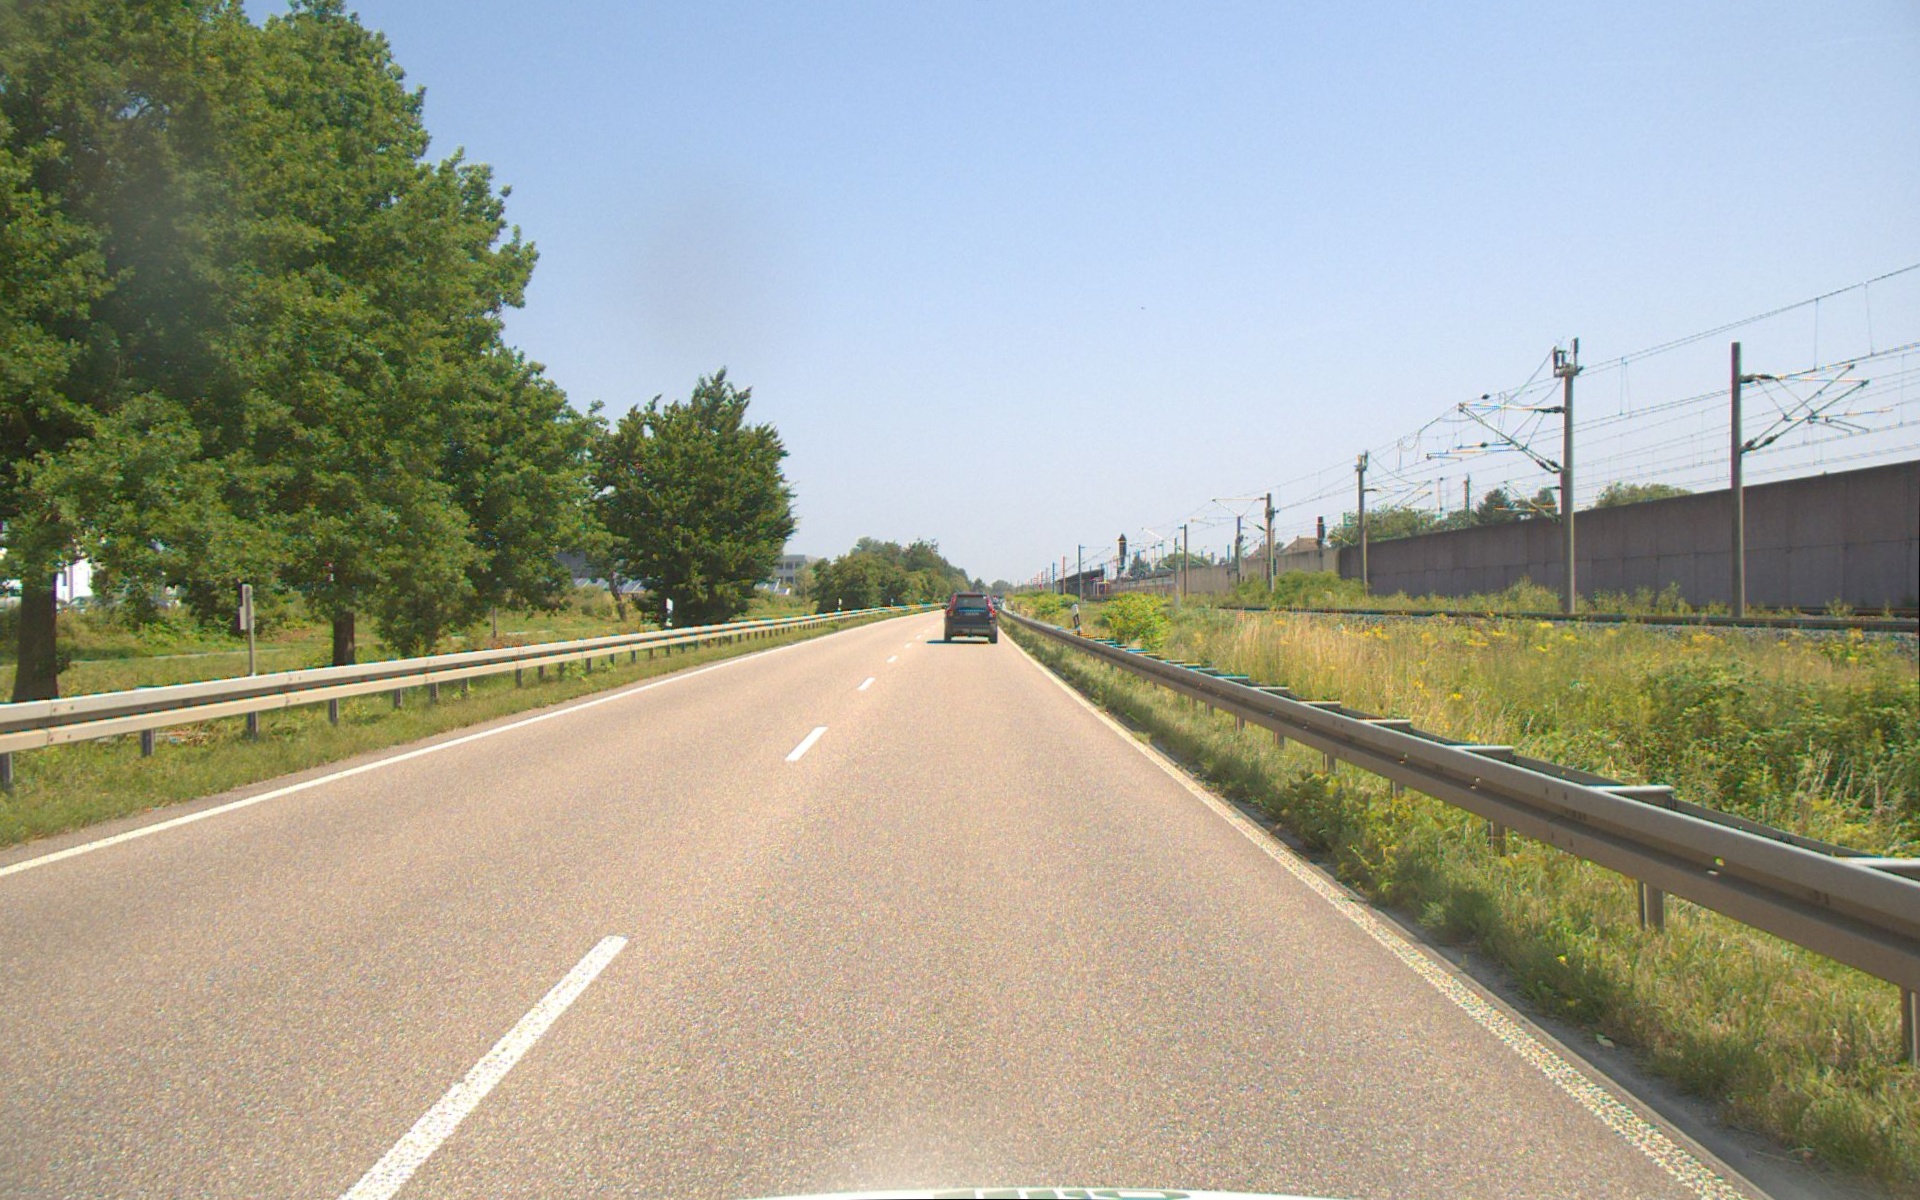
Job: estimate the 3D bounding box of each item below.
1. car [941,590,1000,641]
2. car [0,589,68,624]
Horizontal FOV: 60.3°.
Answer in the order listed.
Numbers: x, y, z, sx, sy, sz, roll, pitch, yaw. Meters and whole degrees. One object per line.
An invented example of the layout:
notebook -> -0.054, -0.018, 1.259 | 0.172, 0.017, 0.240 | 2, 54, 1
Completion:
car -> 0.331, 0.530, 57.878 | 1.953, 1.730, 3.999 | 0, 0, -1
car -> -41.910, 0.300, 72.954 | 4.145, 1.462, 1.622 | -2, 0, -6
